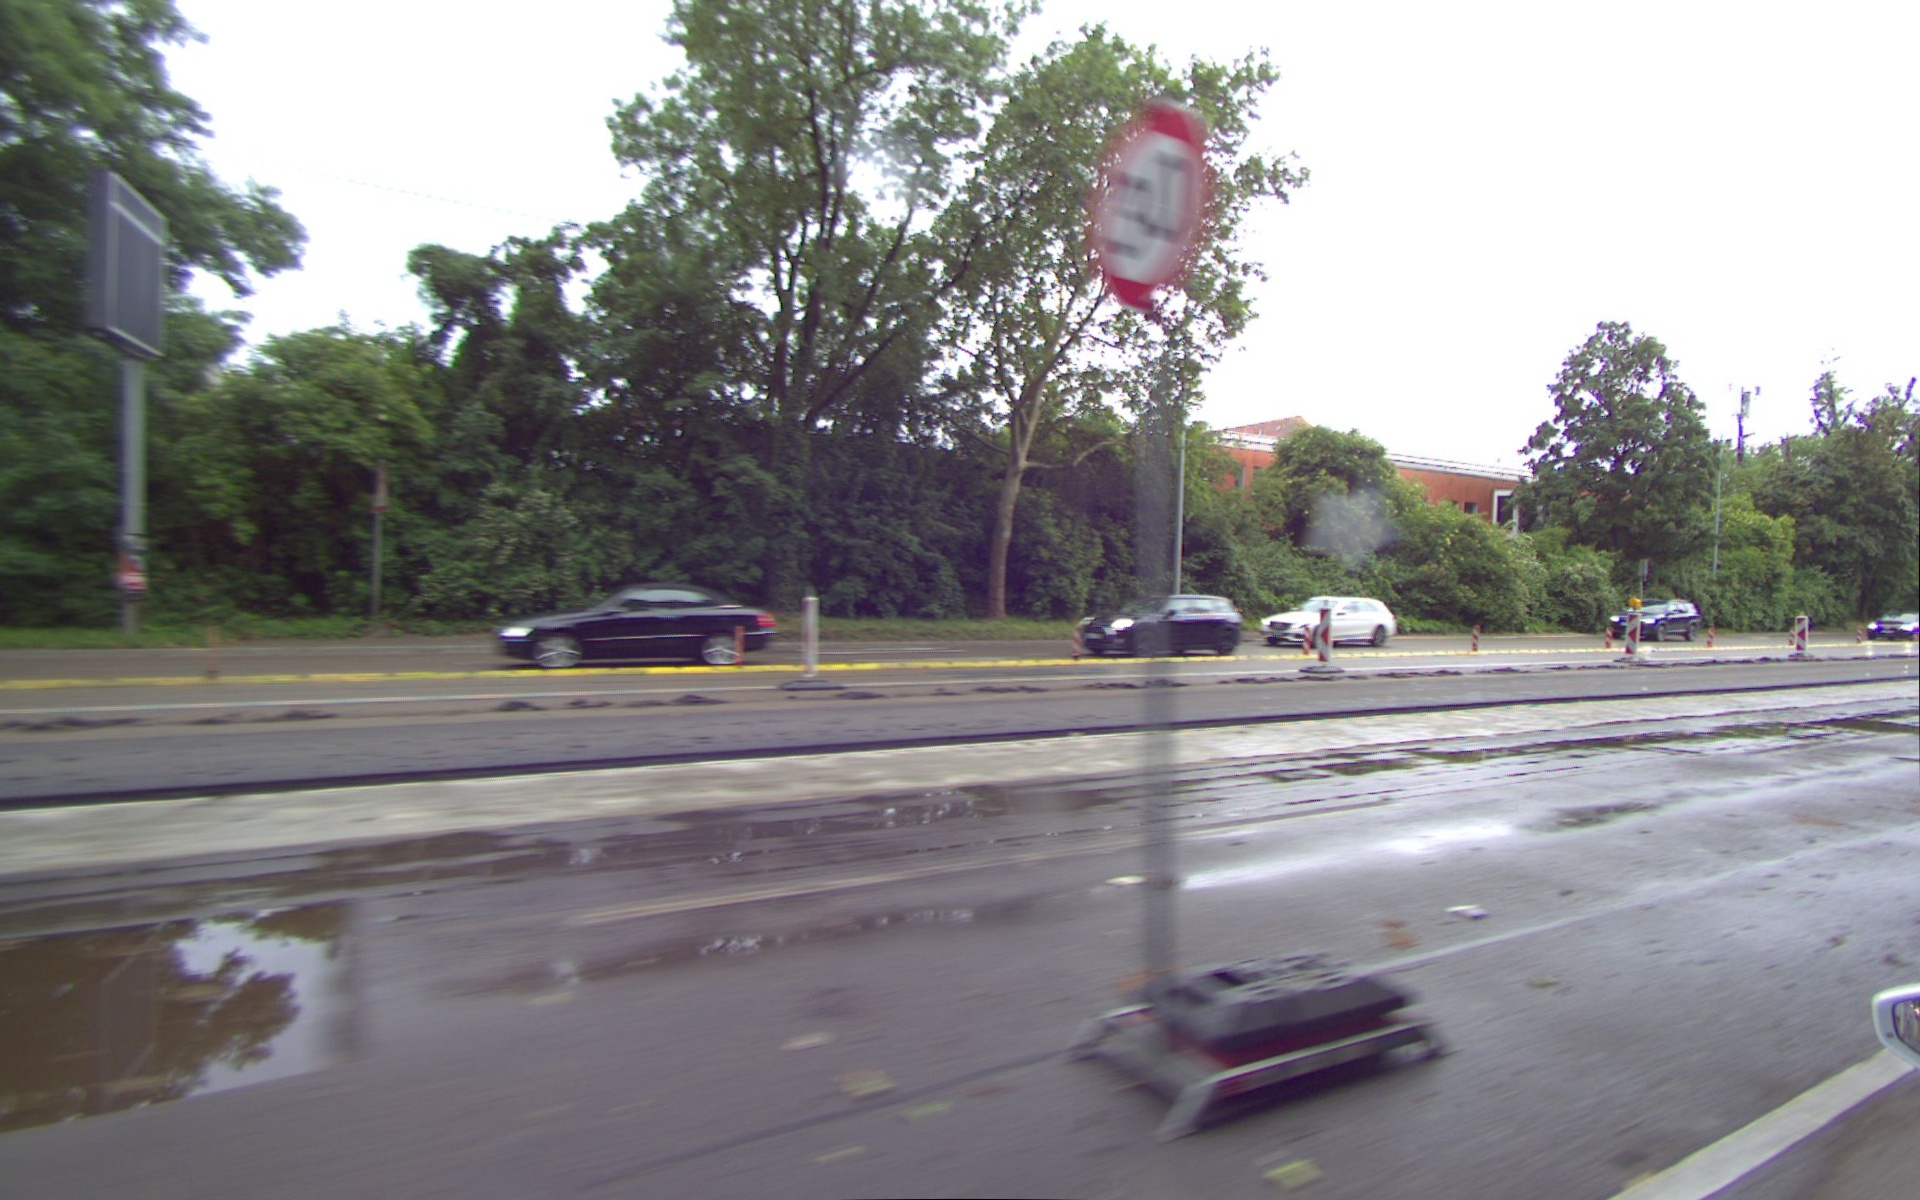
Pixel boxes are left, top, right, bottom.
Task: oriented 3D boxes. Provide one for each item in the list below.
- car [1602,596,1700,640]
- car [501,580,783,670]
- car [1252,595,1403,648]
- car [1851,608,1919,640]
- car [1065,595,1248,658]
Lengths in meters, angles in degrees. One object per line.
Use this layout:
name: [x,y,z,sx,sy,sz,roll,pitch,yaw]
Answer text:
car: [28.651,0.745,41.616,4.482,1.708,1.644,1,2,-32]
car: [-5.433,0.421,17.325,4.340,1.373,1.808,1,-1,-32]
car: [11.088,0.643,30.195,4.551,1.439,1.808,1,2,-32]
car: [46.782,1.213,50.467,4.846,1.503,1.750,1,1,-33]
car: [4.677,0.611,23.793,4.157,1.373,1.808,1,-1,-32]
